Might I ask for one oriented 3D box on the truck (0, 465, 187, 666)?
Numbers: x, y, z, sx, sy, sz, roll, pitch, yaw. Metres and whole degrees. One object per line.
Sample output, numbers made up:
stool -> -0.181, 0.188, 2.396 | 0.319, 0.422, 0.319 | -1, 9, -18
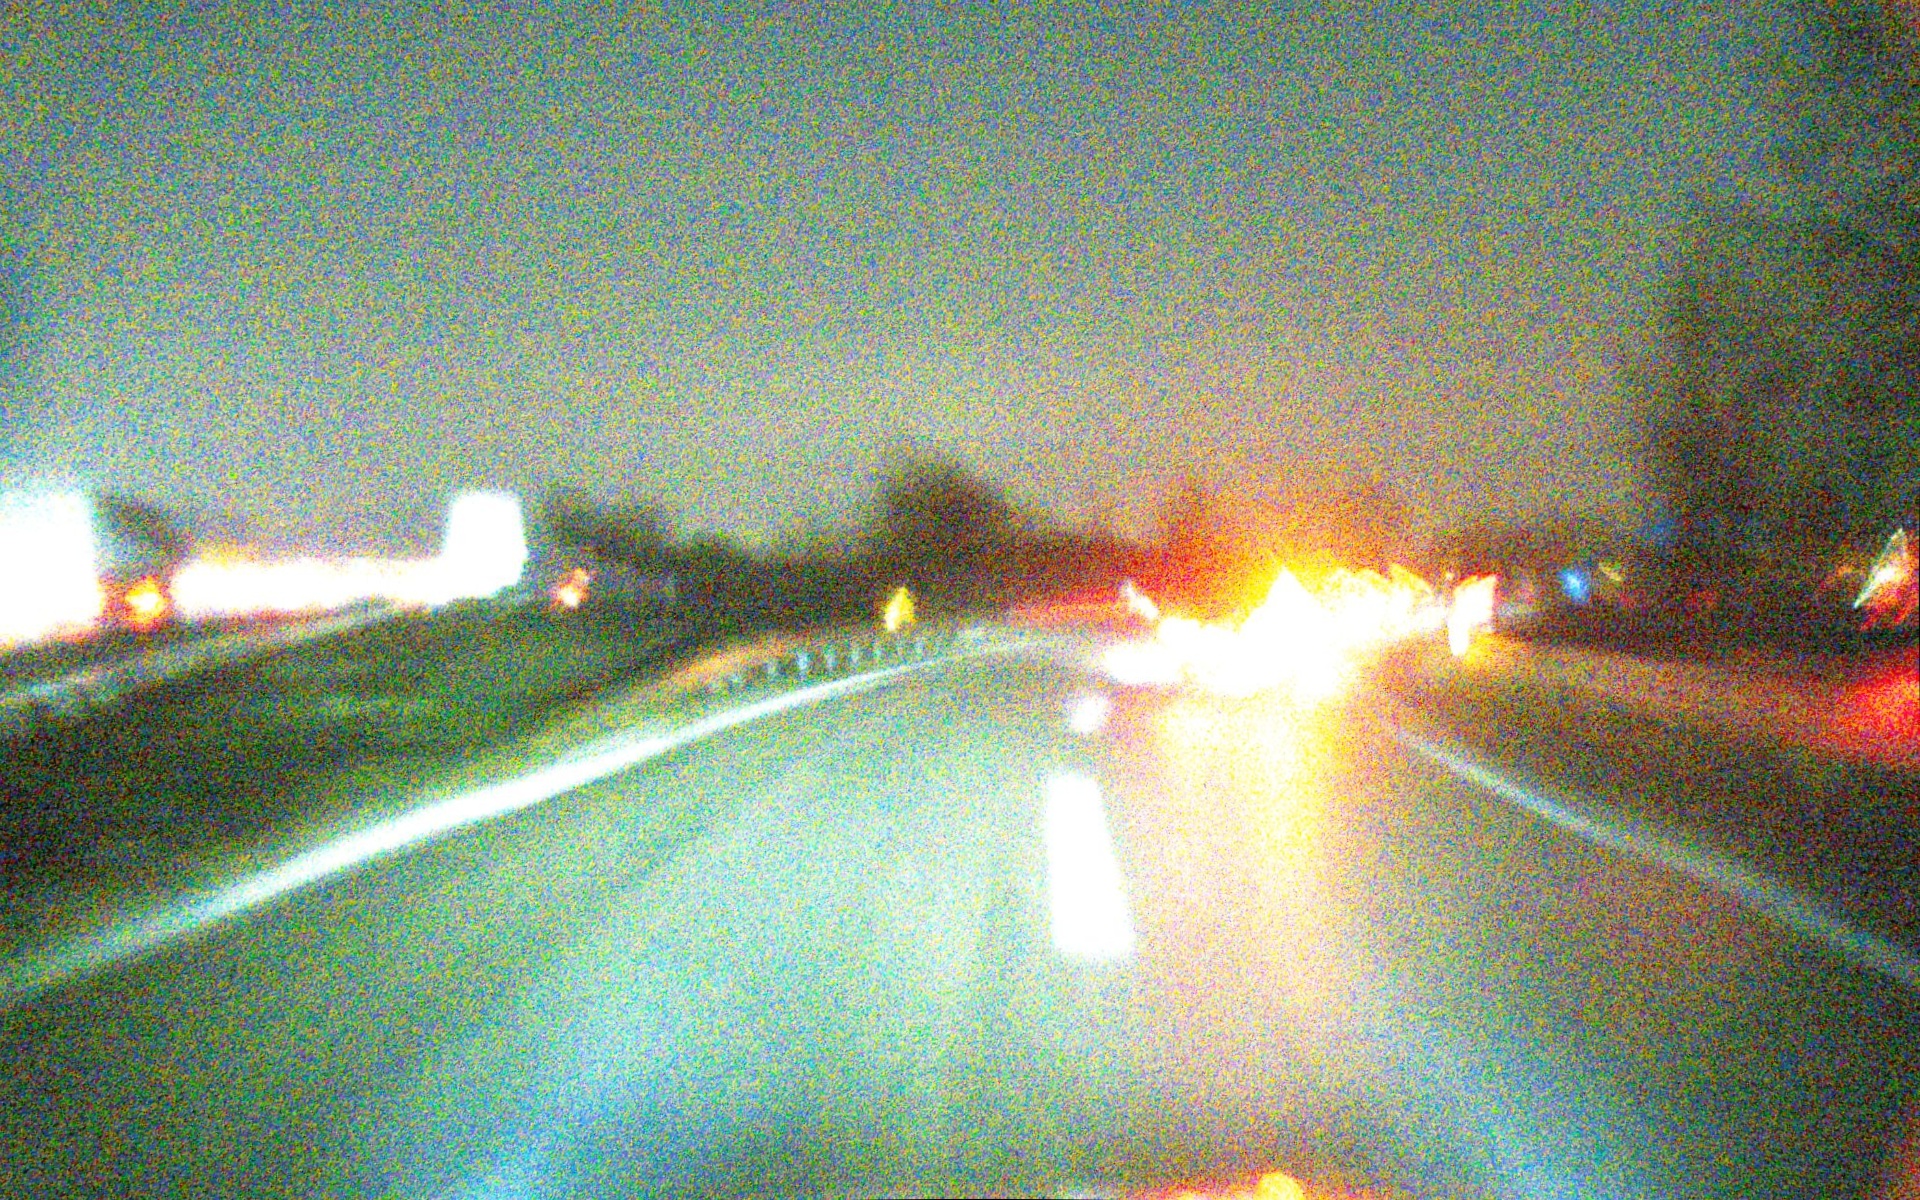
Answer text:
truck -> -28.453, -1.004, 53.907 | 4.144, 5.747, 11.411 | 3, -1, -17

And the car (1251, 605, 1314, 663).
car -> 11.171, 1.178, 57.100 | 1.951, 1.839, 4.003 | 2, -1, 13

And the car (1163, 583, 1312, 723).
car -> 4.047, 0.753, 24.662 | 1.951, 1.839, 4.003 | 2, -1, 7
